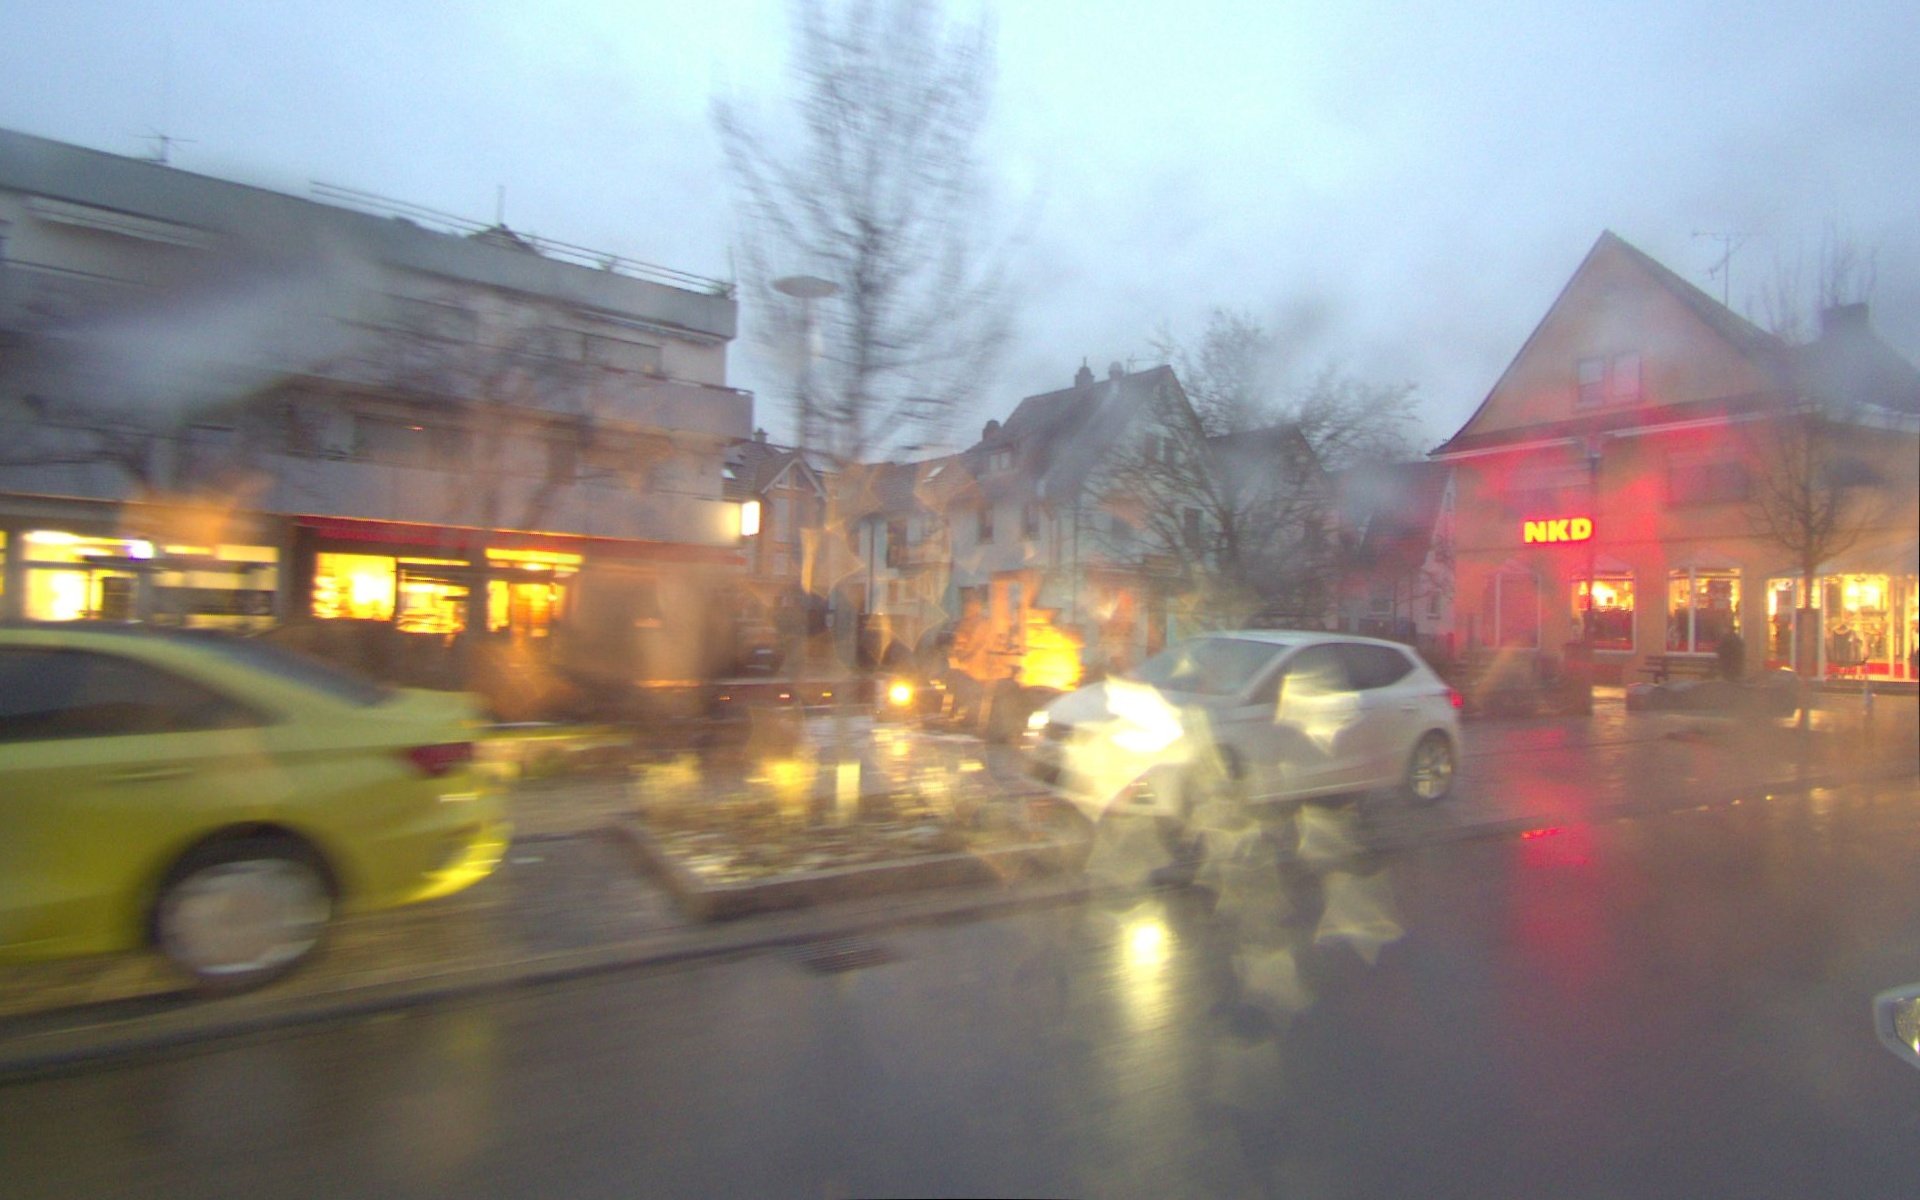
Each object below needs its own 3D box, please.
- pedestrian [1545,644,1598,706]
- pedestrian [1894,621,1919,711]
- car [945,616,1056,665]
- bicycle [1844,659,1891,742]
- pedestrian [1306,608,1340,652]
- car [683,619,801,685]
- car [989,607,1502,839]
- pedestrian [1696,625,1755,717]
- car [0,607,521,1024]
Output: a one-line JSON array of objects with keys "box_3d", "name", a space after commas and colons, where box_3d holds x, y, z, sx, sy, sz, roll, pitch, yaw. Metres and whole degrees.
[{"box_3d": [13.381, 1.631, 21.993, 0.673, 1.262, 0.826, 2, 0, 8], "name": "pedestrian"}, {"box_3d": [18.636, 1.269, 19.192, 1.084, 1.680, 0.823, 1, 0, -28], "name": "pedestrian"}, {"box_3d": [1.373, 1.399, 35.546, 1.965, 1.624, 3.961, 2, -2, -35], "name": "car"}, {"box_3d": [13.193, 1.442, 14.585, 1.733, 1.075, 0.321, 0, -5, -45], "name": "bicycle"}, {"box_3d": [15.439, 1.263, 42.775, 0.834, 1.738, 0.909, 1, 6, -41], "name": "pedestrian"}, {"box_3d": [-6.724, 1.566, 30.704, 1.983, 1.868, 3.956, 2, -3, -39], "name": "car"}, {"box_3d": [2.477, 0.885, 8.479, 4.133, 1.508, 1.776, 2, 0, -30], "name": "car"}, {"box_3d": [17.632, 1.622, 23.147, 0.721, 2.040, 0.826, 2, 0, 10], "name": "pedestrian"}, {"box_3d": [-4.221, 0.764, 4.064, 4.325, 1.451, 1.686, 1, 0, -30], "name": "car"}]
